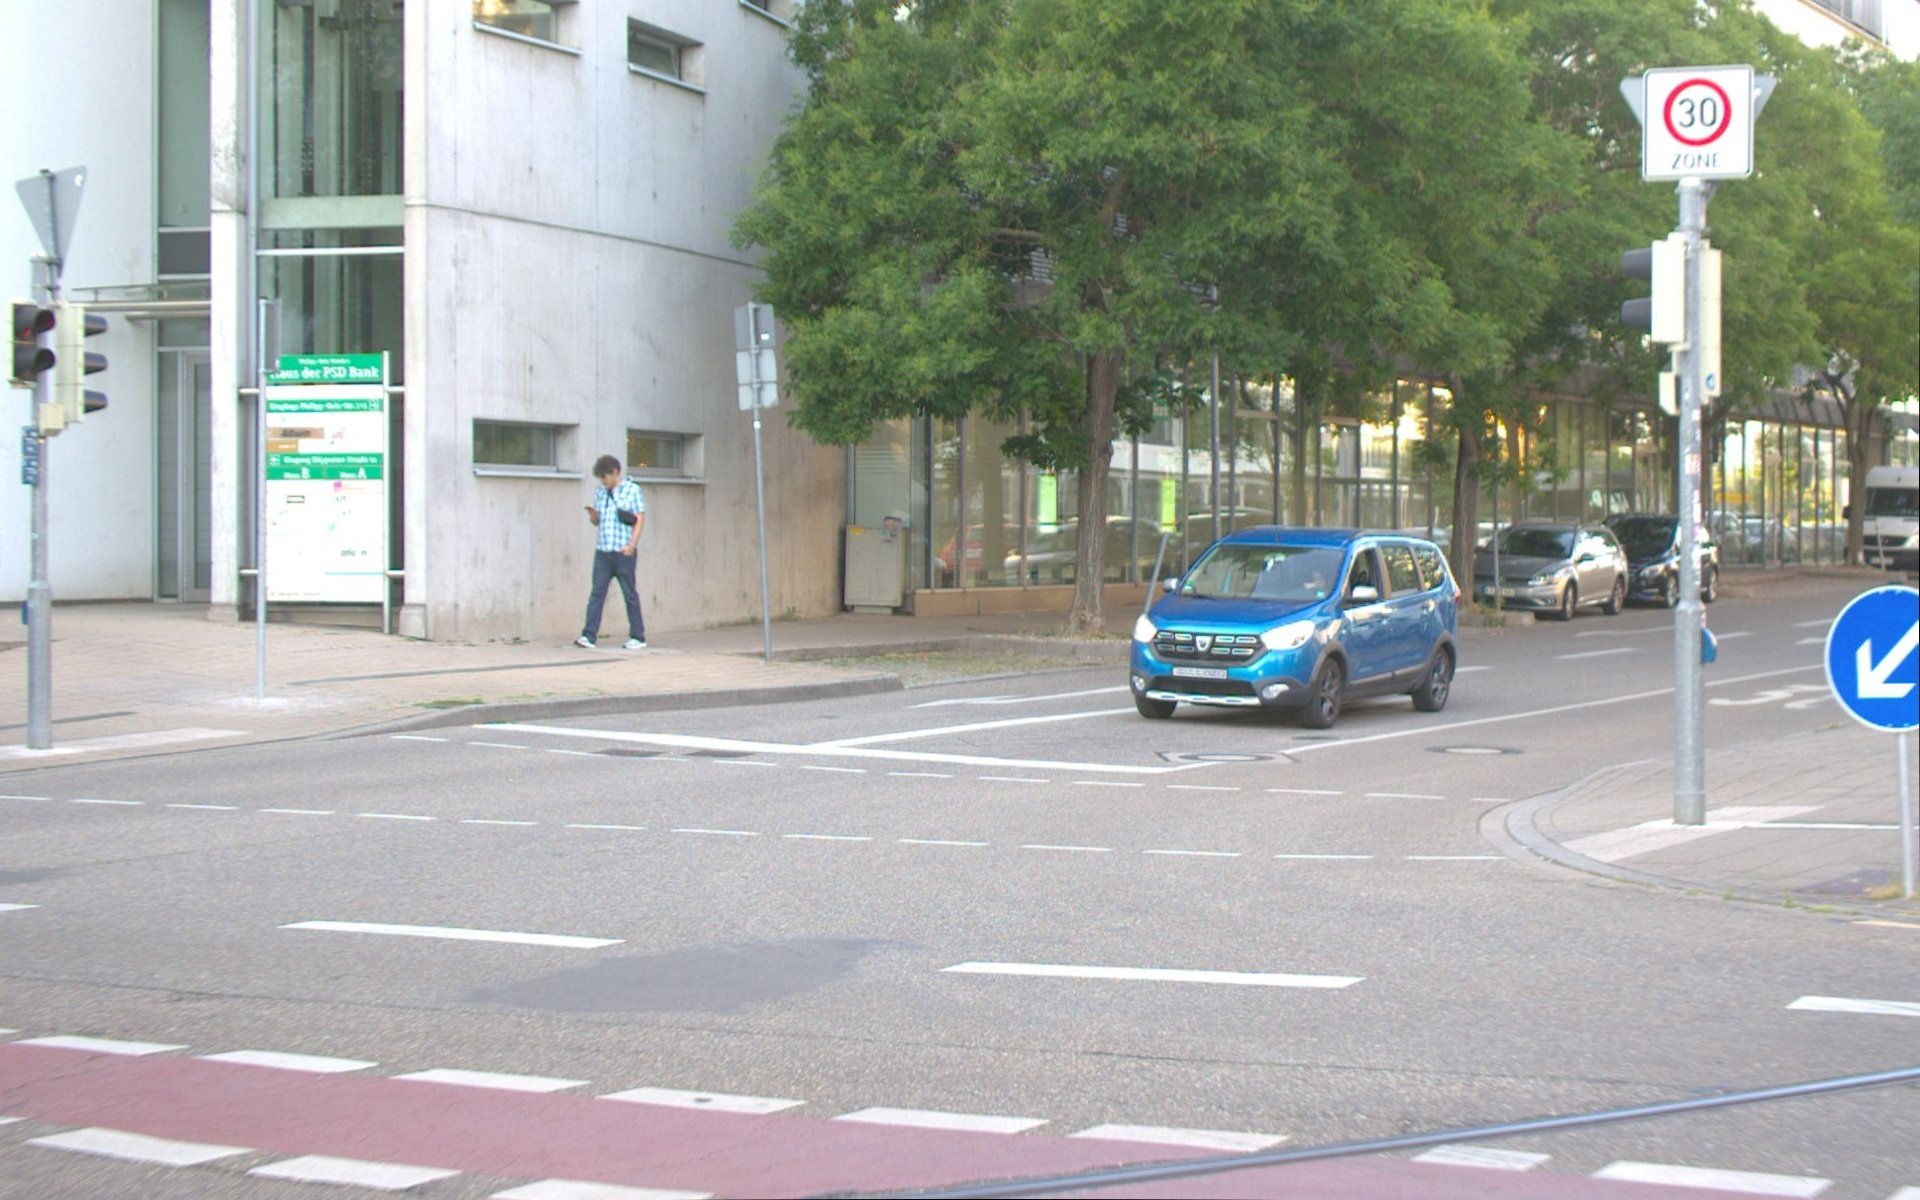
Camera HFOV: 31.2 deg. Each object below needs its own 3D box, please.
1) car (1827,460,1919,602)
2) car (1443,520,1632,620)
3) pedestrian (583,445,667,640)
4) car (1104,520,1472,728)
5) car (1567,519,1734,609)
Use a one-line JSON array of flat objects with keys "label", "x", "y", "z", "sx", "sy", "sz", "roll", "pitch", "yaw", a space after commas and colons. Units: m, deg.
[{"label": "car", "x": 21.746, "y": -1.585, "z": 78.818, "sx": 2.205, "sy": 3.141, "sz": 6.133, "roll": 1, "pitch": 1, "yaw": 28}, {"label": "car", "x": 9.131, "y": -0.501, "z": 54.092, "sx": 1.685, "sy": 1.496, "sz": 4.233, "roll": 1, "pitch": 1, "yaw": 28}, {"label": "pedestrian", "x": -3.329, "y": -0.568, "z": 34.152, "sx": 0.662, "sy": 1.916, "sz": 0.548, "roll": 0, "pitch": 1, "yaw": 16}, {"label": "car", "x": 2.973, "y": 0.153, "z": 30.373, "sx": 1.685, "sy": 1.694, "sz": 4.232, "roll": 1, "pitch": 1, "yaw": 29}, {"label": "car", "x": 11.977, "y": -0.641, "z": 59.471, "sx": 1.685, "sy": 1.496, "sz": 4.233, "roll": 1, "pitch": 1, "yaw": 28}]
